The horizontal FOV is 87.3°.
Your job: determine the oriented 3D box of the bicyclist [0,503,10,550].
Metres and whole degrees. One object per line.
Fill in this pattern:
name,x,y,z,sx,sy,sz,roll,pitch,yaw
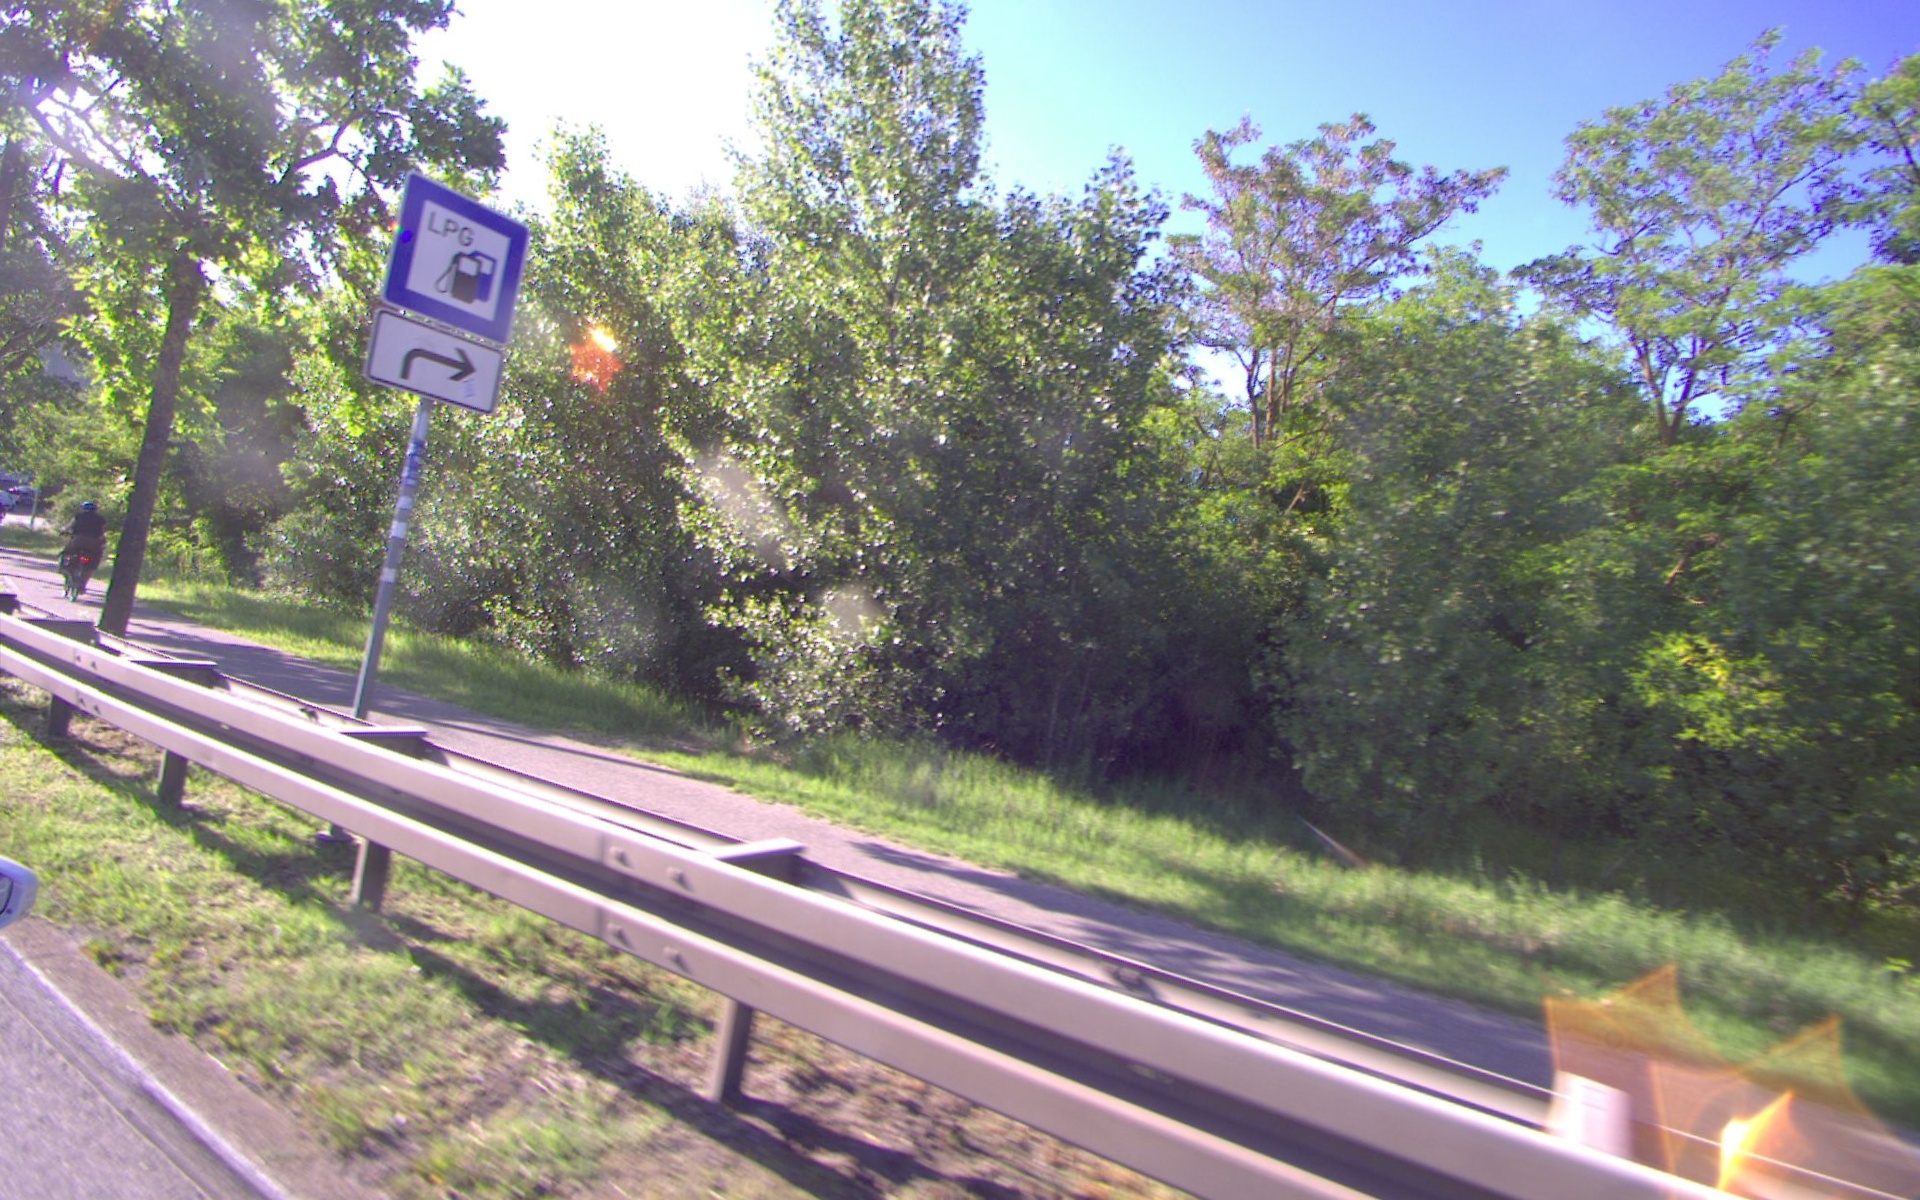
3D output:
bicyclist,-37.615,-2.916,39.183,0.672,1.797,0.938,8,0,-39

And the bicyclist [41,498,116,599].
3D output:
bicyclist,-15.193,-0.898,17.338,0.990,1.597,0.706,7,0,41

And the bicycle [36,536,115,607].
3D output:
bicycle,-15.308,-0.507,17.393,1.895,1.086,0.700,4,-3,42

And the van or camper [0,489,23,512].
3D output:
van or camper,-89.621,-9.430,93.529,1.809,1.810,4.523,11,-2,-21

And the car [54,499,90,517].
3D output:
car,-101.185,-10.452,114.699,1.692,1.539,3.724,11,-2,-21

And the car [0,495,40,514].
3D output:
car,-102.504,-10.369,109.631,1.691,1.539,3.727,11,-2,-19

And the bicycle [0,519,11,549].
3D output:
bicycle,-37.633,-2.618,39.201,0.692,1.108,2.094,8,-1,-39
